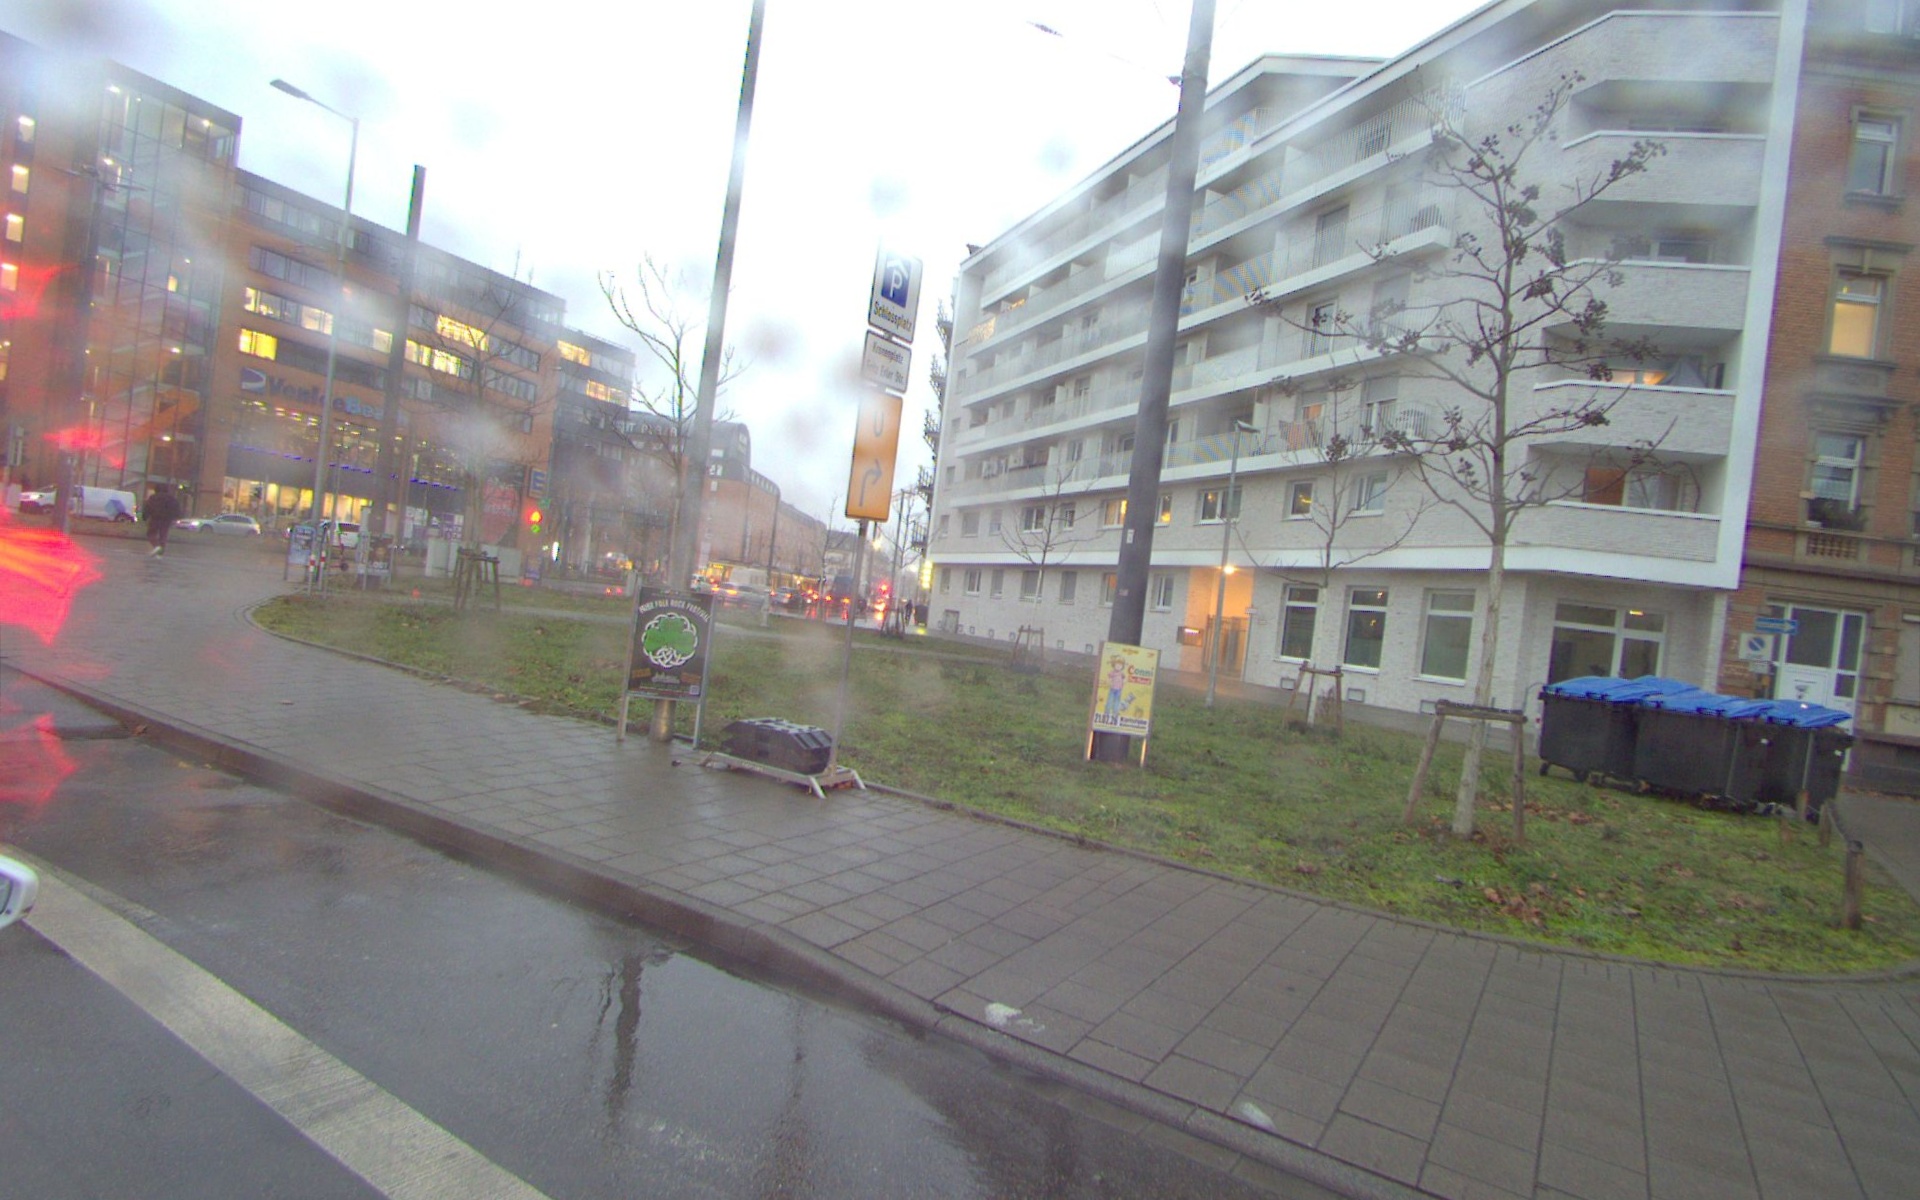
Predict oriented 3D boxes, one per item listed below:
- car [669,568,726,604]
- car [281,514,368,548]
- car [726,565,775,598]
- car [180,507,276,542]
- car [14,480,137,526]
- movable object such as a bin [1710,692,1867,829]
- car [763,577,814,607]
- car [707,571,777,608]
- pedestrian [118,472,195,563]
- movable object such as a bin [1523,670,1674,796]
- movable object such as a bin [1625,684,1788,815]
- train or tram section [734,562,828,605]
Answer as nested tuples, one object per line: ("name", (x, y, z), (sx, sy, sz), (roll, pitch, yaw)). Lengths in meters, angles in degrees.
("car", (-19.924, -1.040, 76.569), (1.963, 2.036, 4.003), (8, -2, 22))
("car", (-41.287, -4.469, 65.494), (1.767, 1.553, 4.444), (7, -1, 25))
("car", (-17.489, -1.487, 84.246), (1.962, 2.036, 4.957), (8, -2, 11))
("car", (-43.485, -4.466, 59.857), (1.767, 1.406, 4.227), (7, -1, 25))
("car", (-46.206, -5.027, 52.680), (1.767, 1.614, 4.431), (7, -1, 25))
("movable object such as a bin", (10.718, 2.051, 13.050), (1.021, 1.507, 1.039), (9, -2, -12))
("car", (-13.404, -0.594, 78.870), (1.963, 1.898, 3.998), (8, 1, 21))
("car", (-13.881, -0.636, 64.316), (1.798, 1.873, 4.682), (6, -1, 24))
("pedestrian", (-19.448, -1.977, 24.393), (1.164, 1.945, 0.890), (10, -2, -35))
("movable object such as a bin", (8.978, 1.852, 14.200), (1.016, 1.513, 1.324), (7, 0, -18))
("movable object such as a bin", (9.595, 1.908, 12.970), (1.003, 1.434, 1.218), (6, 1, -21))
("train or tram section", (-18.597, -1.581, 106.586), (2.293, 3.300, 16.666), (7, -1, 17))
